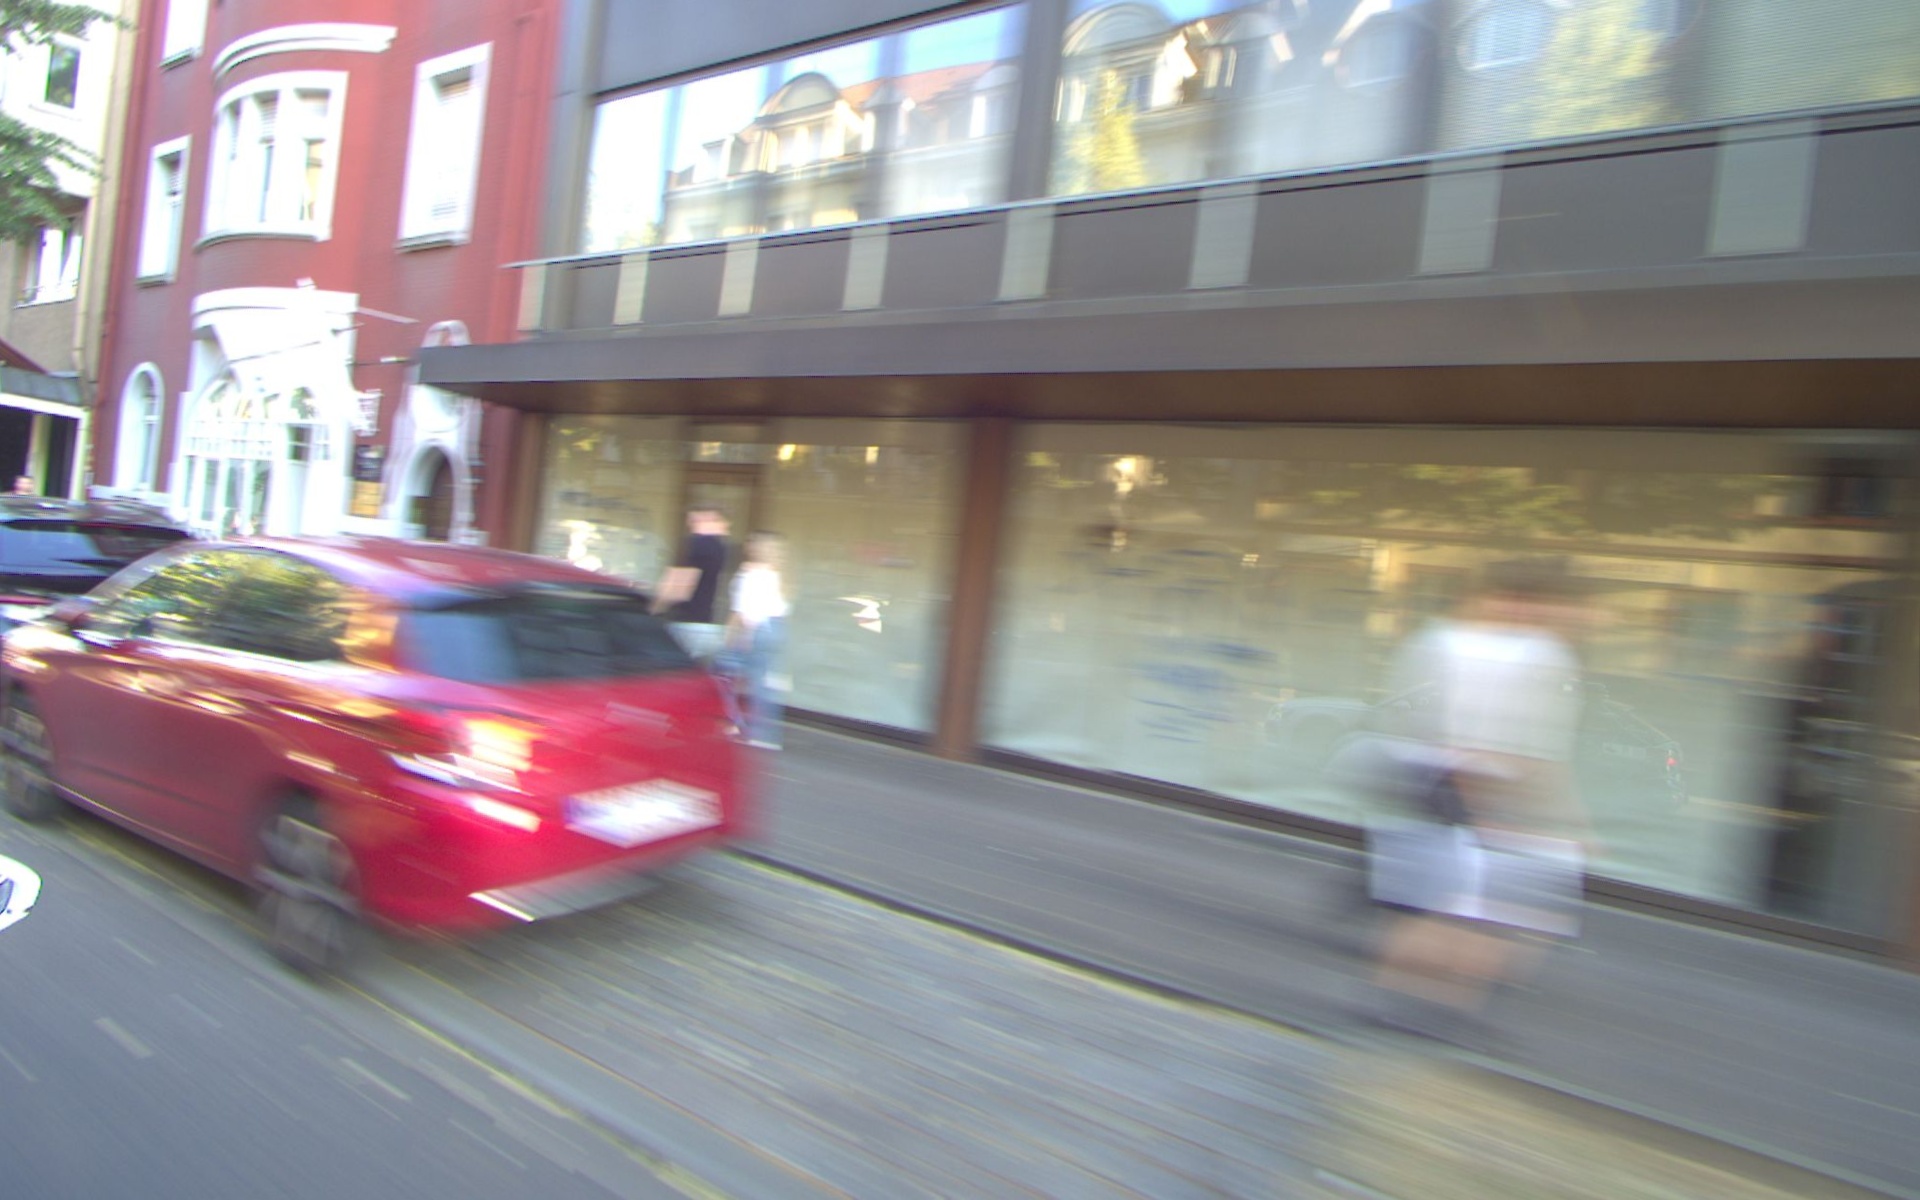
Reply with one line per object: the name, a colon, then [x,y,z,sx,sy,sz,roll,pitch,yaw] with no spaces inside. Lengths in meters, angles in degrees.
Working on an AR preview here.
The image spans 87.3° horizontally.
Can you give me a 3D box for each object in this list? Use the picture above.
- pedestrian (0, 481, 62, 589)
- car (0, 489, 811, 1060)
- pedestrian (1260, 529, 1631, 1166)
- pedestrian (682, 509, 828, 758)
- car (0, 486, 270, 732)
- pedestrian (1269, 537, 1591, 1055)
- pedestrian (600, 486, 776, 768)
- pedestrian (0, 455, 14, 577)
pedestrian: [-13.893,-0.966,14.926,0.630,1.508,0.624,7,2,32]
car: [-3.141,0.391,4.879,4.673,1.512,1.723,7,2,31]
pedestrian: [1.636,0.714,3.415,0.855,1.811,0.729,7,5,32]
pedestrian: [-1.632,0.244,8.003,0.822,1.834,0.589,7,3,32]
car: [-7.477,-0.120,7.851,4.344,1.490,1.775,7,2,31]
pedestrian: [2.006,0.705,4.264,0.929,1.810,1.046,7,3,31]
pedestrian: [-1.998,0.172,7.378,0.960,1.893,0.625,7,3,32]
pedestrian: [-13.897,-1.222,14.159,0.630,1.699,0.624,7,2,32]
